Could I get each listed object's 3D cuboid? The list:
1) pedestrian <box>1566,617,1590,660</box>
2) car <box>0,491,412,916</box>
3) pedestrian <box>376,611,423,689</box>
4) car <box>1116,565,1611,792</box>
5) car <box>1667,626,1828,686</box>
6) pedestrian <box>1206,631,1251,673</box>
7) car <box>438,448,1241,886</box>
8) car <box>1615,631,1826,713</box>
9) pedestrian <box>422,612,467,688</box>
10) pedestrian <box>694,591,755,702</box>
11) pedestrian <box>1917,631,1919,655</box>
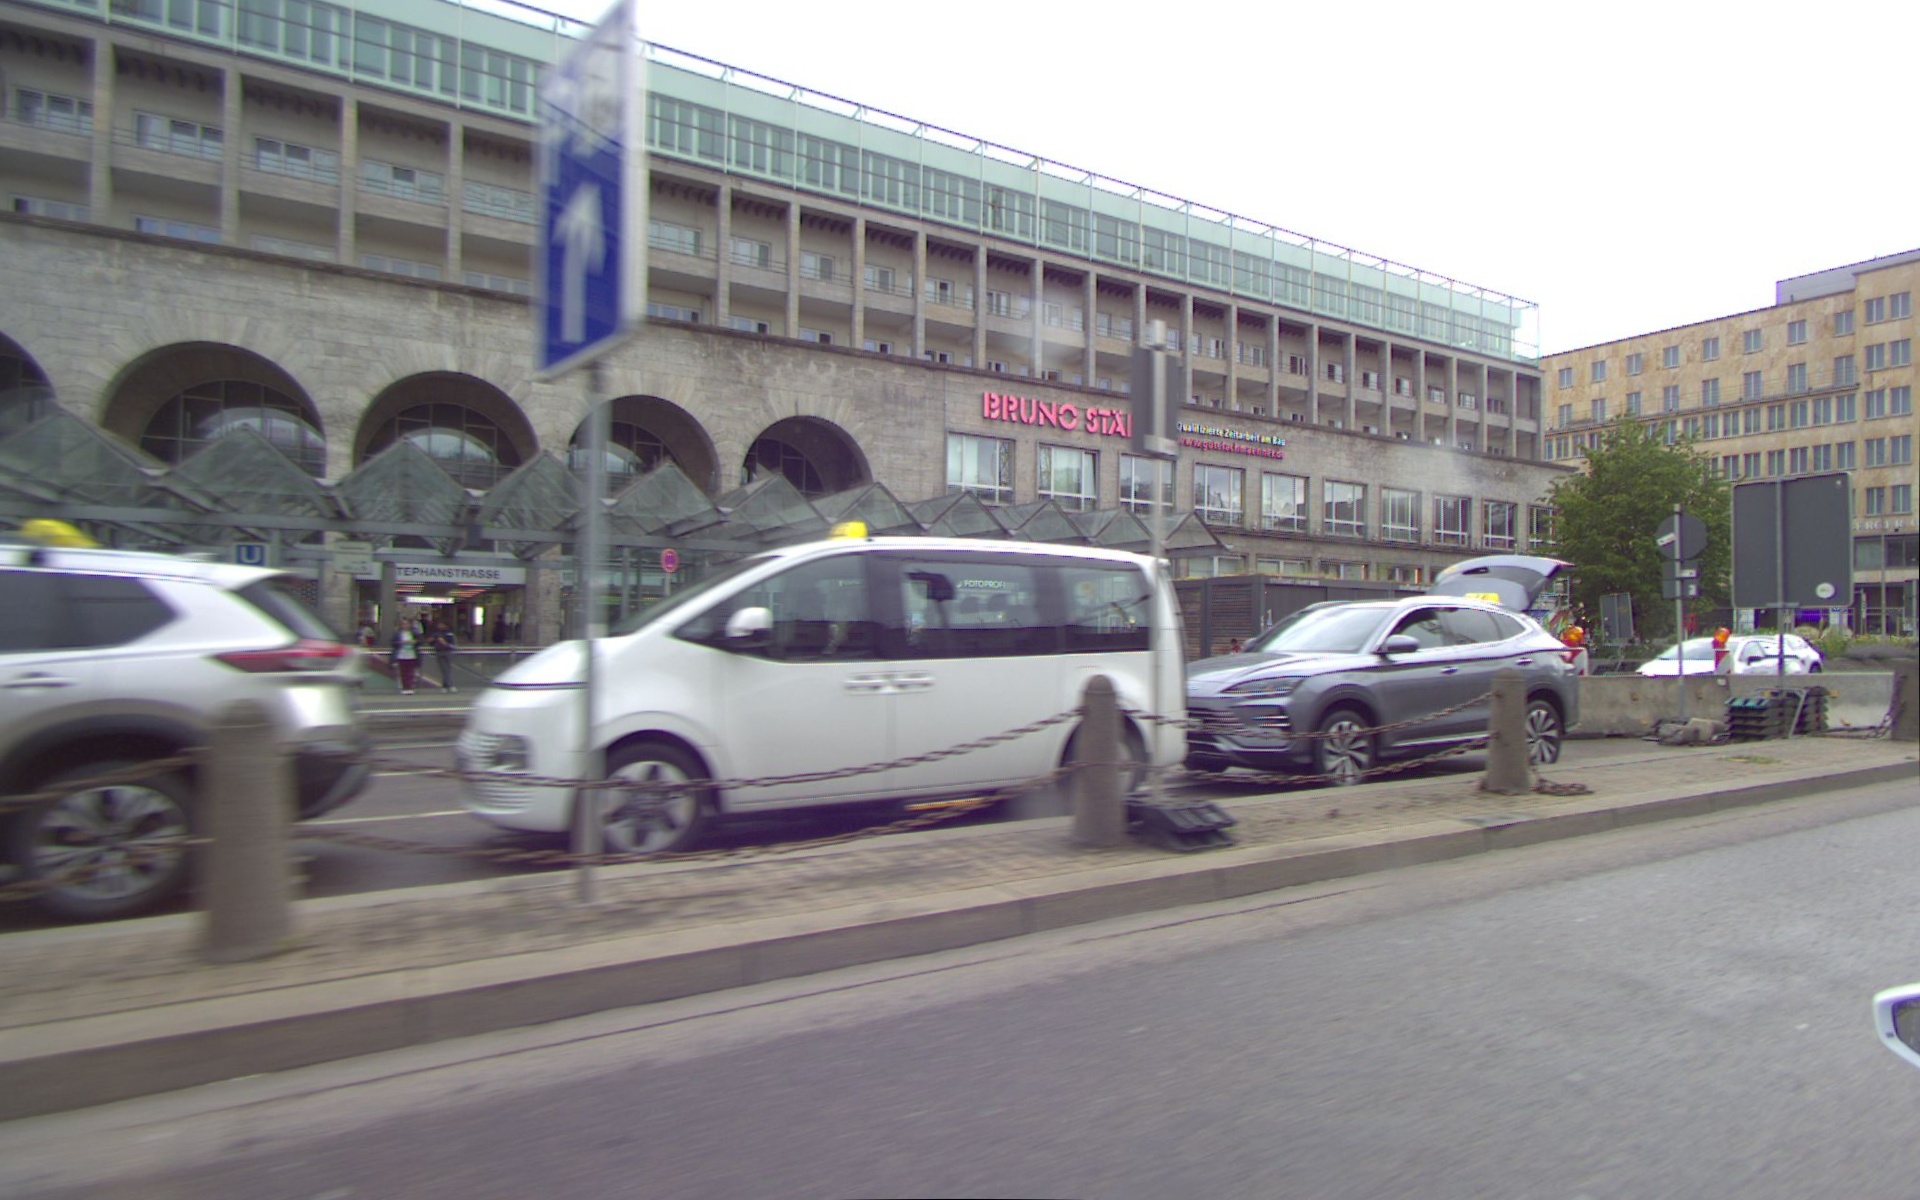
[{"bbox_3d":[30.001,1.868,48.794,0.783,2.040,0.664,1,-2,-27],"label":"pedestrian"},{"bbox_3d":[-5.238,0.463,4.816,4.528,1.830,1.921,2,-3,-30],"label":"car"},{"bbox_3d":[-12.499,1.101,22.418,0.883,1.677,0.753,1,1,-28],"label":"pedestrian"},{"bbox_3d":[4.010,0.672,9.801,4.724,1.745,1.985,1,-2,-29],"label":"car"},{"bbox_3d":[22.298,1.551,28.413,4.779,1.584,1.953,1,-3,-31],"label":"car"},{"bbox_3d":[7.984,1.535,29.899,1.246,1.198,0.577,1,0,-30],"label":"pedestrian"},{"bbox_3d":[-0.664,0.408,7.306,5.478,2.207,1.984,1,-2,-30],"label":"car"},{"bbox_3d":[16.501,1.500,21.735,4.779,1.584,1.953,1,-3,-31],"label":"car"},{"bbox_3d":[-11.755,1.113,22.898,0.883,1.677,0.753,1,1,-28],"label":"pedestrian"},{"bbox_3d":[-4.464,0.851,19.037,0.883,2.040,0.969,1,1,-29],"label":"pedestrian"},{"bbox_3d":[67.081,2.982,69.919,0.688,1.665,0.646,-1,-2,44],"label":"pedestrian"}]
